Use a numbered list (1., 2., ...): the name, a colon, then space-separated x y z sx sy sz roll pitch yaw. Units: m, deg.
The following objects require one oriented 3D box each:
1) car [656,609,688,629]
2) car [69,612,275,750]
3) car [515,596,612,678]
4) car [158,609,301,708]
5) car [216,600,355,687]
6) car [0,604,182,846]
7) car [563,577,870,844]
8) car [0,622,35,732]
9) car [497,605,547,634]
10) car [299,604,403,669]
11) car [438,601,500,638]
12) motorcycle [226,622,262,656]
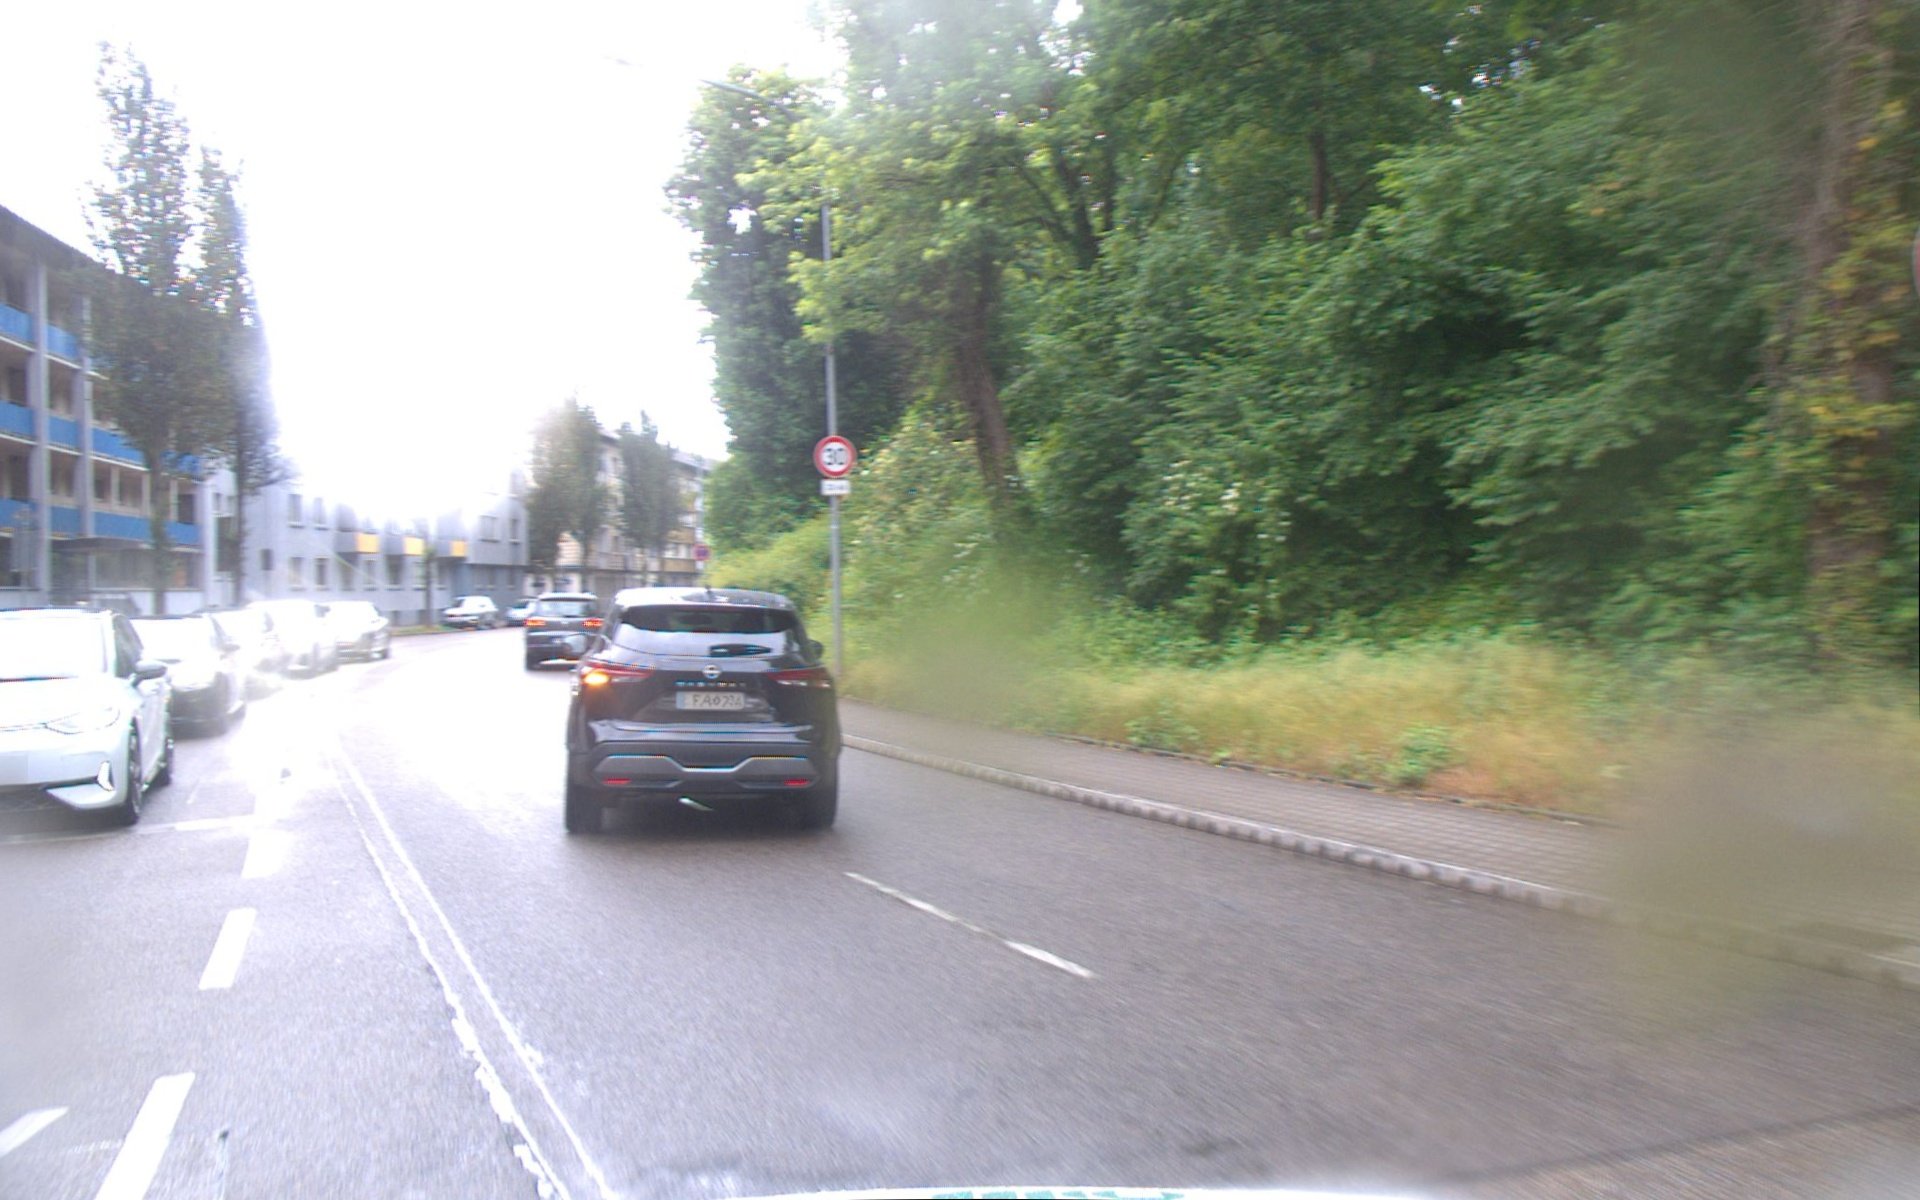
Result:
1. car: -22.713 1.467 130.462 1.592 1.411 3.990 -2 0 3
2. car: -9.687 0.913 20.656 1.763 1.431 4.600 -2 0 -19
3. car: -8.906 0.791 37.419 1.853 1.741 3.990 0 0 -10
4. car: -12.290 0.928 28.023 1.653 1.472 3.803 -2 1 -16
5. car: -13.734 0.823 33.945 1.789 1.543 5.011 -2 1 -13
6. car: -7.063 0.829 12.526 1.760 1.522 4.189 -2 1 -21
7. car: -1.945 0.649 12.143 1.814 1.610 3.985 0 0 -15
8. car: -14.500 1.125 23.649 1.634 1.481 3.974 -3 1 -21
9. car: -24.026 1.067 90.895 1.689 1.478 4.204 -2 0 -1
10. car: -15.143 0.870 41.308 1.721 1.450 4.524 -1 0 -11
11. car: -23.650 0.907 79.873 1.728 1.632 4.532 -2 0 -2
12. motorcycle: -27.965 1.505 64.649 0.662 1.276 2.232 1 0 -8
